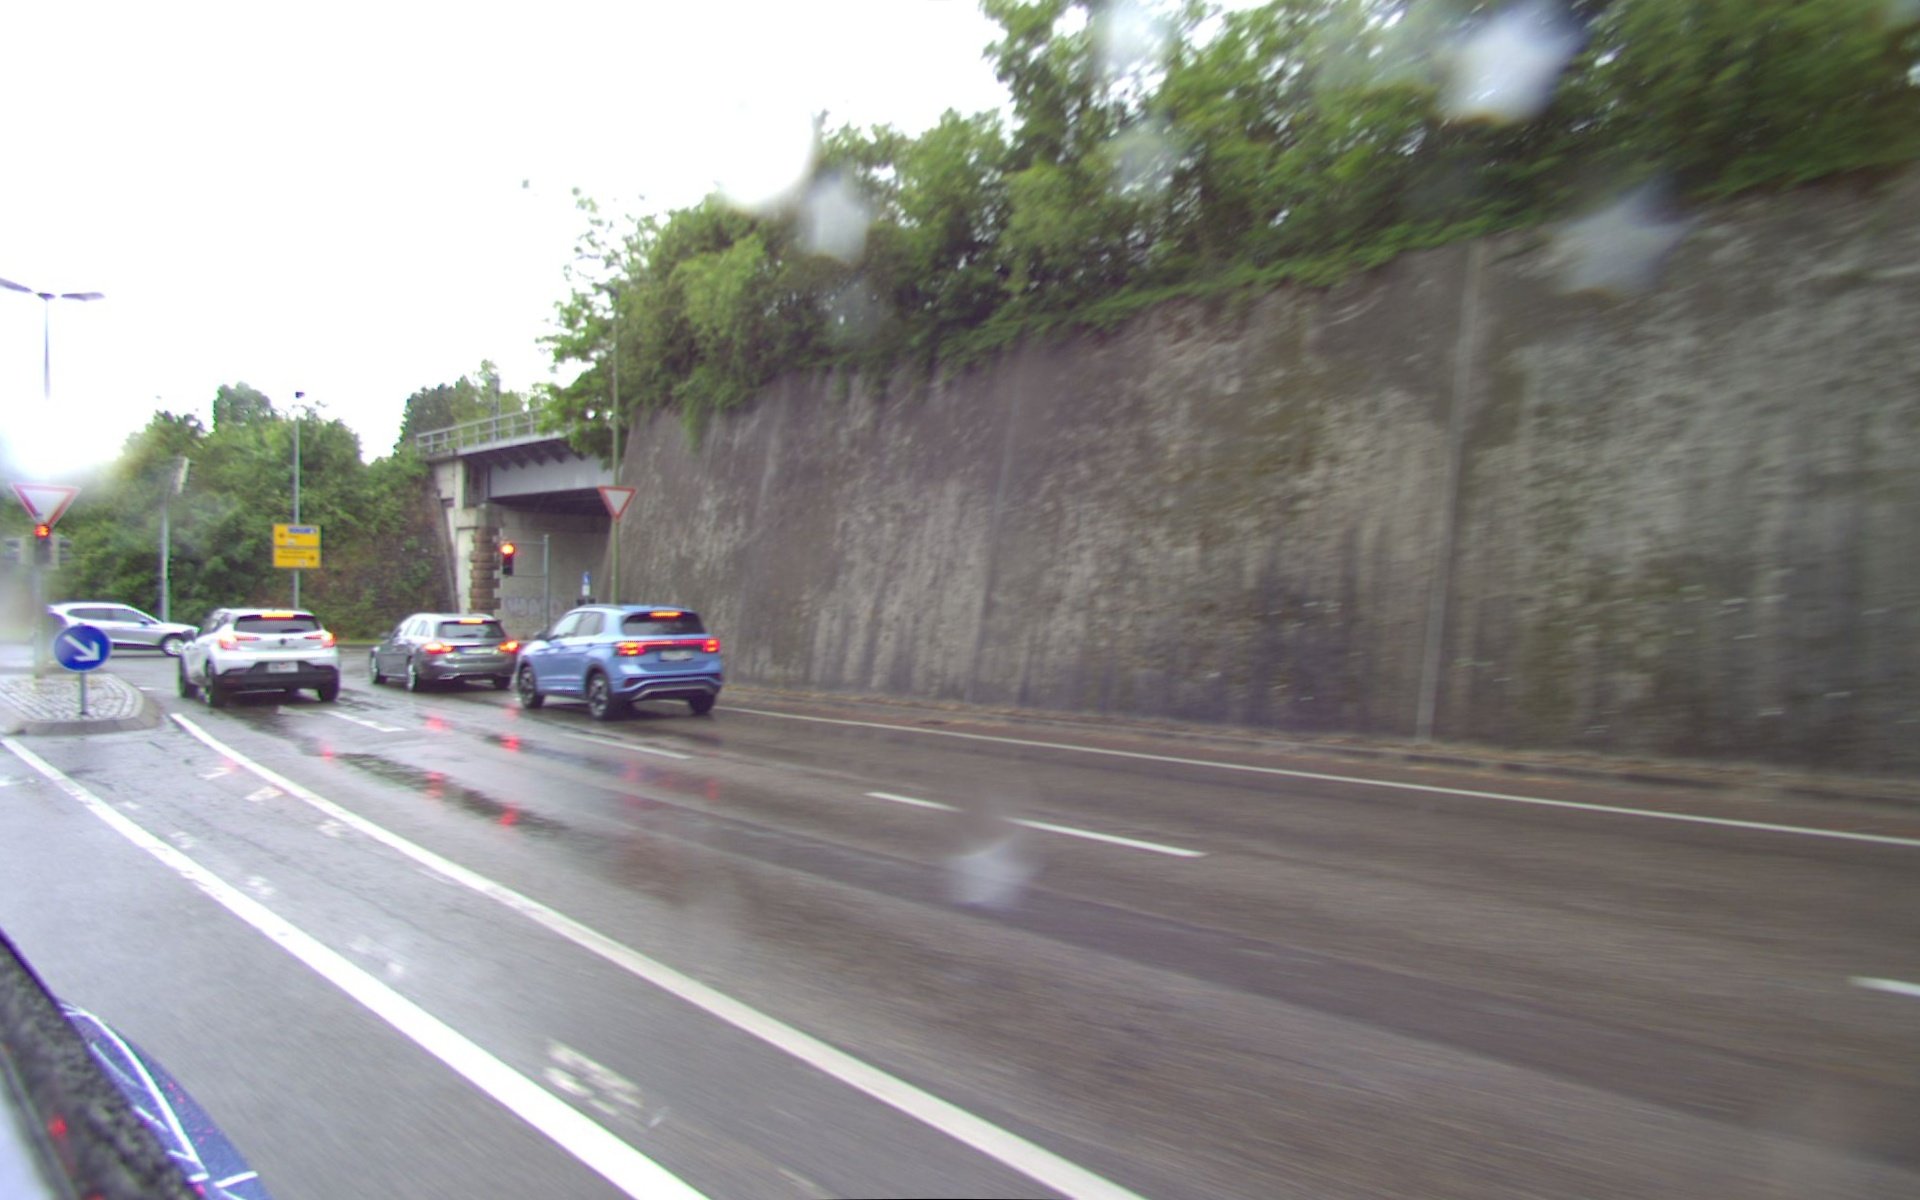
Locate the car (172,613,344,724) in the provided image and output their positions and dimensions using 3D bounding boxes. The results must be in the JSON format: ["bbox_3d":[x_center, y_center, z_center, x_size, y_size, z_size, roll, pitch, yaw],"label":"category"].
[{"bbox_3d":[-12.102,1.057,17.348,1.847,1.613,4.004,-1,0,-43],"label":"car"}]

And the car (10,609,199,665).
[{"bbox_3d":[-25.014,1.117,29.804,4.085,1.519,1.686,3,-3,-36],"label":"car"}]

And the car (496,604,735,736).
[{"bbox_3d":[-5.239,0.916,15.122,1.794,1.670,4.053,-1,0,-45],"label":"car"}]

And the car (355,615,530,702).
[{"bbox_3d":[-10.434,1.102,20.222,1.969,1.514,4.735,4,-3,-41],"label":"car"}]
